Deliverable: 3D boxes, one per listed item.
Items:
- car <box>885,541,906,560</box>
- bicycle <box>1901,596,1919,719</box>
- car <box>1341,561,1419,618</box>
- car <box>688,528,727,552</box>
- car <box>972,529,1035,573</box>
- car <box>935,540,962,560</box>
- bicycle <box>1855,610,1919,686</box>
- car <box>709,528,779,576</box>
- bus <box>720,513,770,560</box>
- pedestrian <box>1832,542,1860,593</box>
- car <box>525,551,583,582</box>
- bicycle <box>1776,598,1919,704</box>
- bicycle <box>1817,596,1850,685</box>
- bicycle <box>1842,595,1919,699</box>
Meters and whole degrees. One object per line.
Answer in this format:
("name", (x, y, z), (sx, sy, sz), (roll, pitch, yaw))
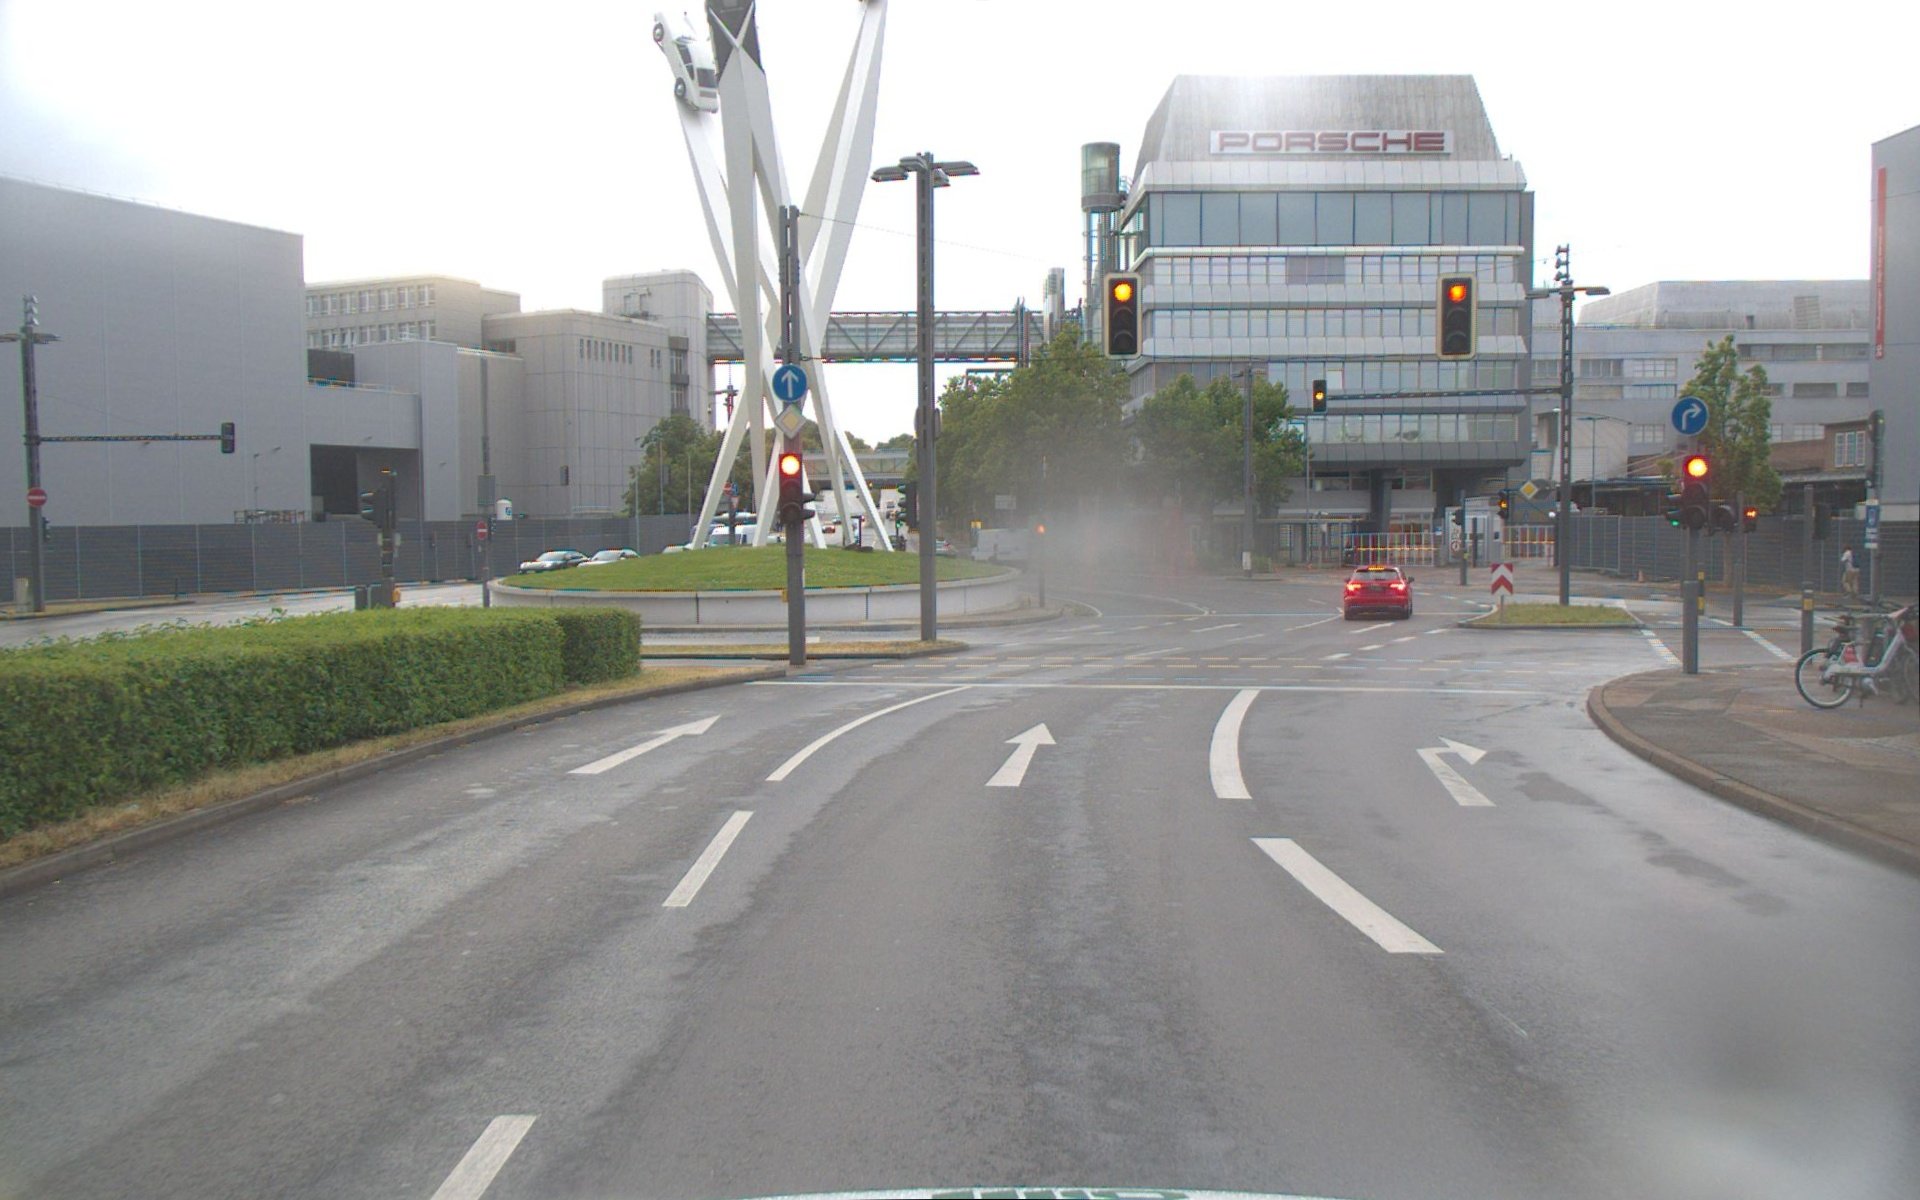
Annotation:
("car", (-4.649, -3.545, 119.264), (1.525, 1.310, 3.412), (0, 0, -2))
("bicycle", (10.126, 0.537, 15.925), (1.762, 1.182, 0.592), (-1, 0, 1))
("car", (11.507, -0.287, 45.199), (1.735, 1.490, 3.734), (0, 0, 19))
("car", (-16.666, -3.943, 109.370), (1.795, 1.497, 4.514), (0, 1, 1))
("car", (2.271, -2.571, 87.619), (2.194, 2.144, 4.939), (0, 0, -12))
("car", (-0.822, -3.462, 115.116), (1.635, 1.323, 3.882), (0, 0, -5))
("bicycle", (12.199, 0.610, 21.780), (0.520, 0.920, 1.813), (0, 0, 22))
("car", (-11.599, -2.574, 89.168), (1.951, 2.489, 5.432), (0, 1, 13))
("bus", (-15.696, -4.572, 121.425), (2.615, 3.256, 12.664), (0, 1, -3))
("pedestrian", (28.883, -1.039, 53.941), (0.792, 1.639, 0.768), (0, 0, 27))
("car", (-20.637, -1.700, 84.226), (1.795, 1.497, 4.514), (0, 1, 1))
("bicycle", (10.178, 0.558, 18.518), (1.732, 1.160, 0.679), (0, 0, 6))
("bicycle", (11.782, 0.522, 22.301), (0.377, 1.139, 1.748), (0, 1, 28))
("bicycle", (11.018, 0.532, 19.721), (0.377, 1.182, 2.002), (0, 0, 13))
